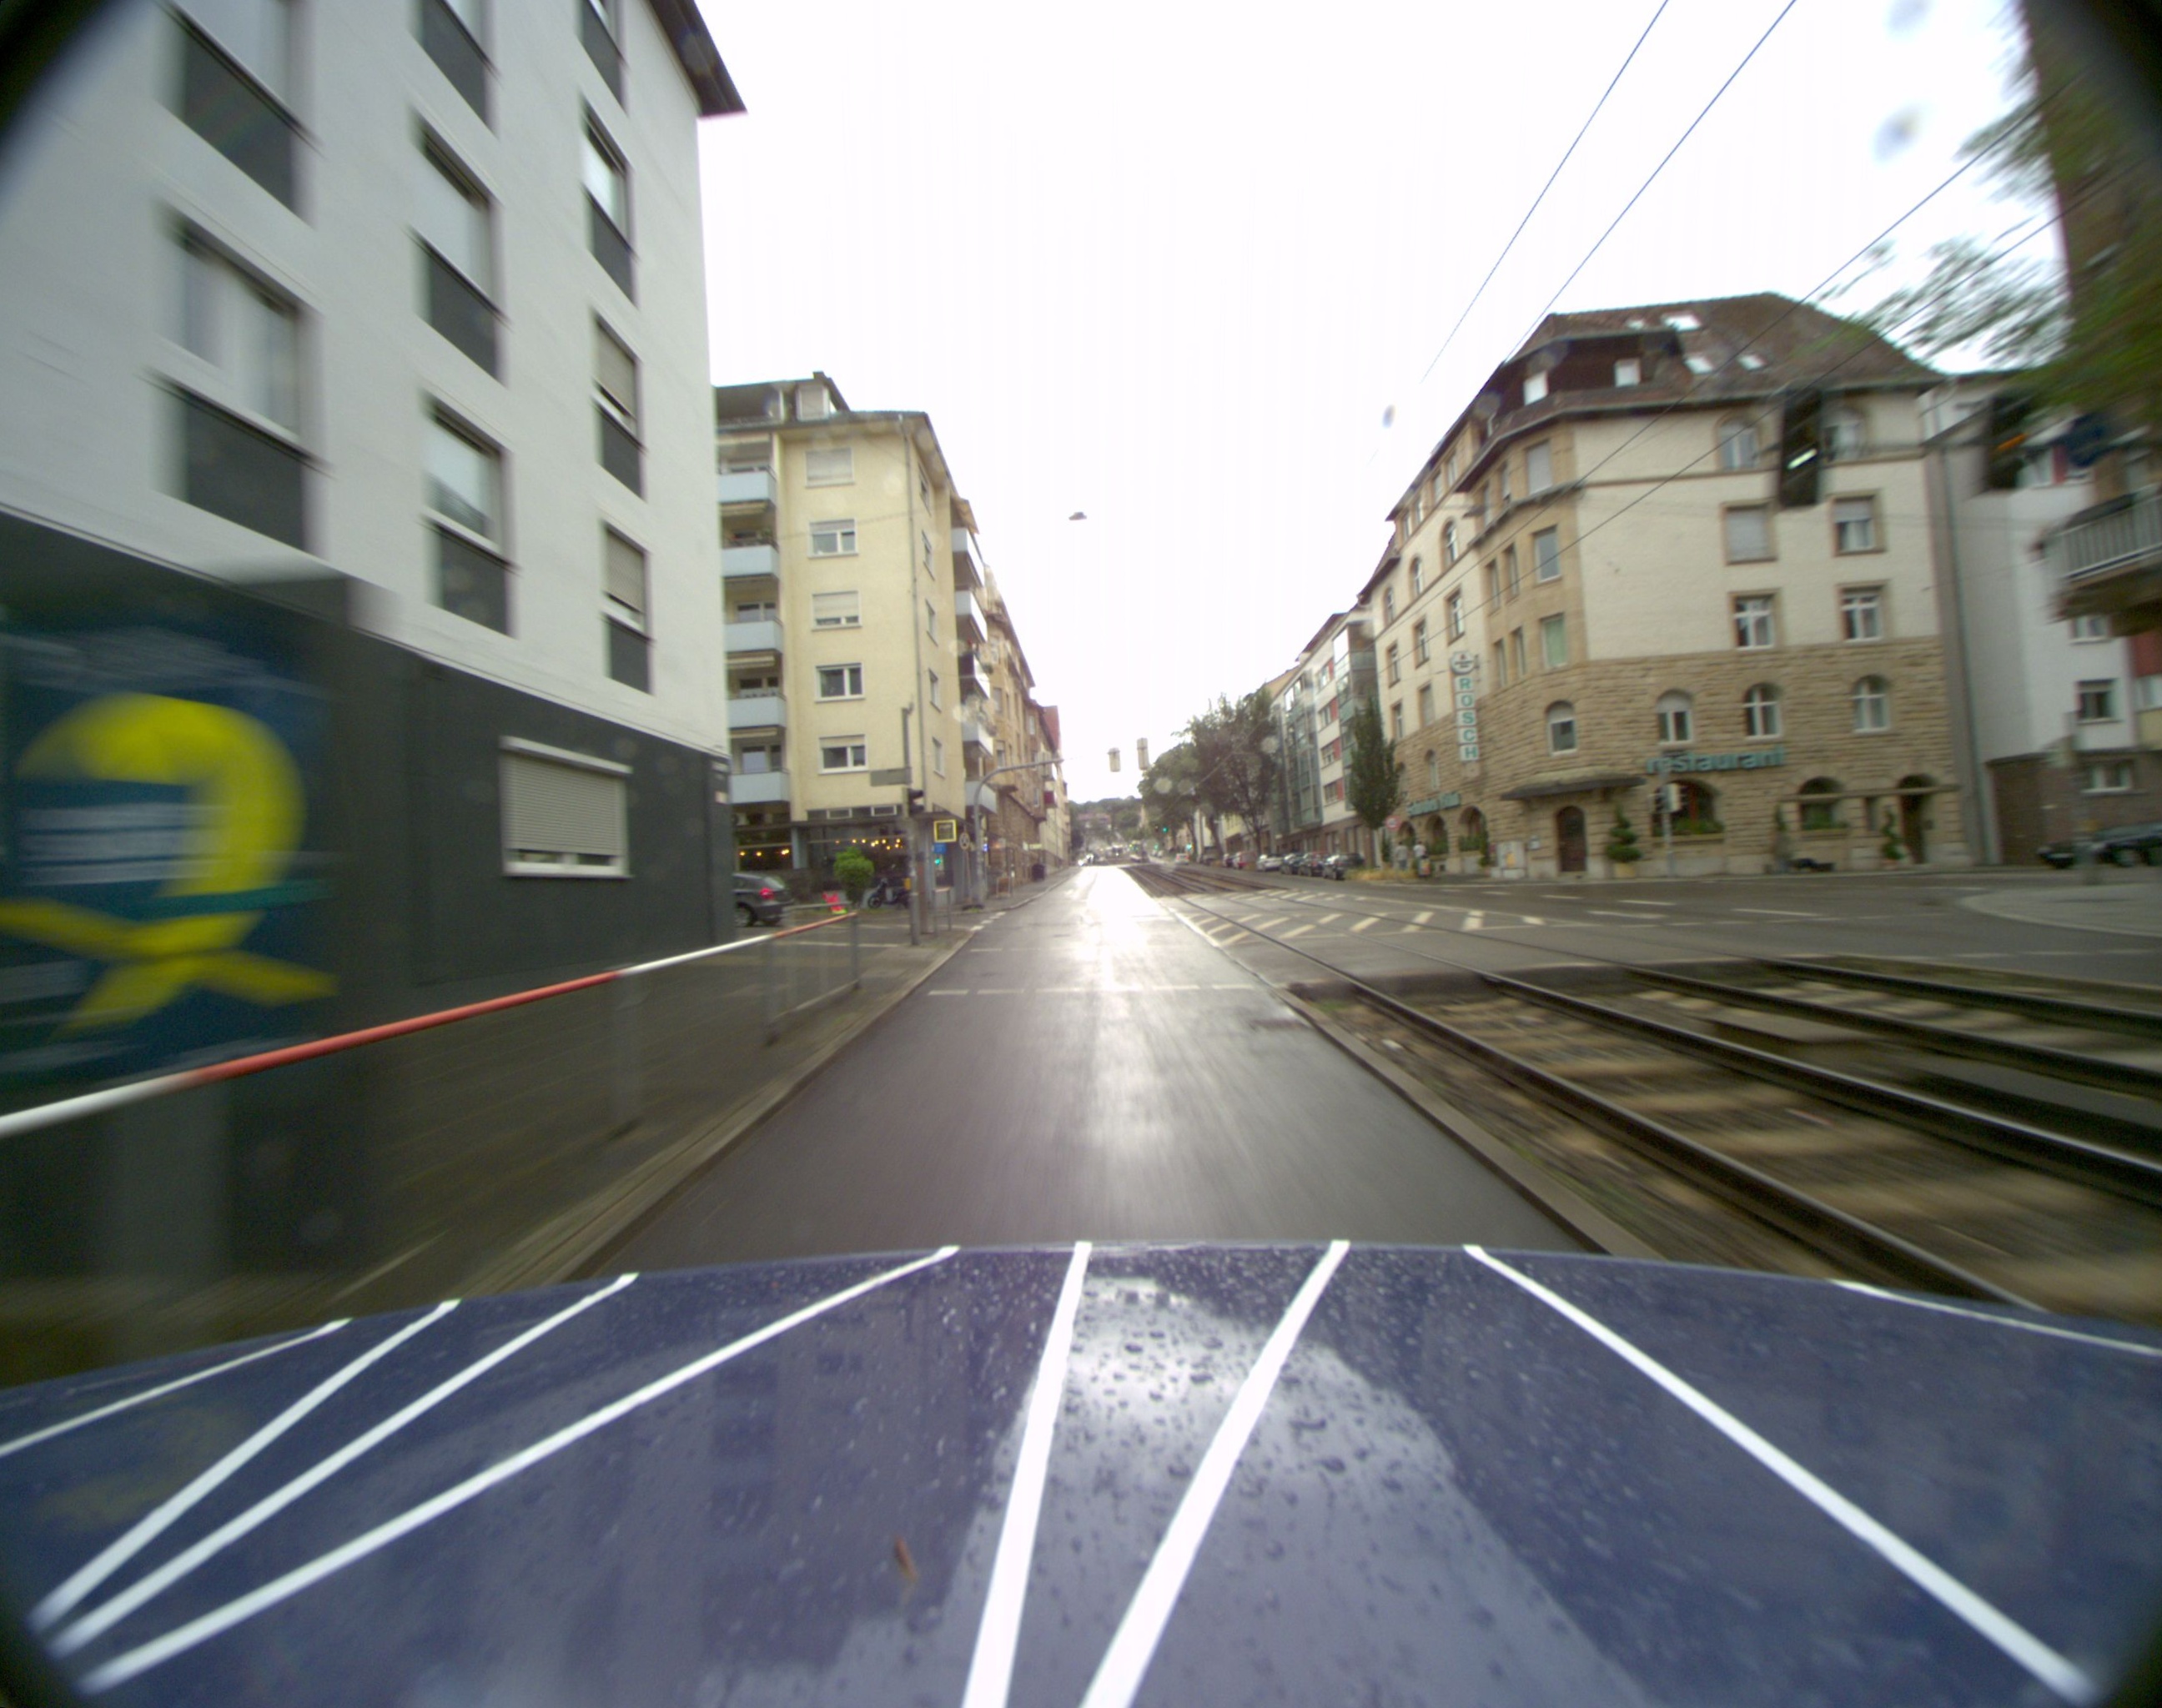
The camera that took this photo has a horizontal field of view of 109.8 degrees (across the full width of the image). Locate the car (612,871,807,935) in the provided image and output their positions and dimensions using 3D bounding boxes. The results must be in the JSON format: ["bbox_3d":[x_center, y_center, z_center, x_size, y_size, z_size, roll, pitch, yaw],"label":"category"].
[{"bbox_3d":[-9.243,1.197,19.106,3.996,1.406,1.761,-2,0,3],"label":"car"}]

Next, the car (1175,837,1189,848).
[{"bbox_3d":[13.720,-1.566,103.411,1.631,1.473,3.581,-3,1,3],"label":"car"}]

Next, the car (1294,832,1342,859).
[{"bbox_3d":[14.450,-0.526,46.583,1.811,1.489,3.526,-4,0,1],"label":"car"}]

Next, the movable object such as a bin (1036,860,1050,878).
[{"bbox_3d":[-3.212,1.237,63.804,1.011,1.443,1.393,-1,1,2],"label":"movable object such as a bin"}]

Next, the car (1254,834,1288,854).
[{"bbox_3d":[14.964,-0.786,60.132,1.706,1.328,4.130,-6,1,3],"label":"car"}]

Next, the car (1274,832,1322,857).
[{"bbox_3d":[14.506,-0.602,51.077,1.806,1.446,4.431,-3,-1,-2],"label":"car"}]

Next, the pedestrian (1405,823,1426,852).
[{"bbox_3d":[16.783,-0.832,38.114,0.756,1.413,0.645,-3,1,3],"label":"pedestrian"}]

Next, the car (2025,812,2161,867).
[{"bbox_3d":[31.420,-0.461,22.756,3.996,1.483,1.720,-3,0,2],"label":"car"}]

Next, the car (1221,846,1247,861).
[{"bbox_3d":[15.792,-0.074,78.640,1.911,1.432,4.469,-3,1,1],"label":"car"}]

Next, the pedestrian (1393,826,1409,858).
[{"bbox_3d":[16.069,-0.605,38.165,0.518,1.561,0.643,-3,2,4],"label":"pedestrian"}]

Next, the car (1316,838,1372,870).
[{"bbox_3d":[14.318,-0.011,41.585,1.769,1.543,3.895,-3,0,2],"label":"car"}]

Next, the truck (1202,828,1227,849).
[{"bbox_3d":[16.261,-1.899,92.749,2.197,2.332,6.352,-3,2,4],"label":"truck"}]

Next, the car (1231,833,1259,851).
[{"bbox_3d":[15.410,-1.112,71.454,1.780,1.560,4.158,-3,1,1],"label":"car"}]

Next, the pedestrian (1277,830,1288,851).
[{"bbox_3d":[16.990,-1.137,64.175,0.675,1.762,0.782,-4,1,3],"label":"pedestrian"}]

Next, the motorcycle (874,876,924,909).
[{"bbox_3d":[-6.578,1.378,27.560,1.648,1.155,0.600,0,2,3],"label":"motorcycle"}]

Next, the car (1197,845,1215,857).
[{"bbox_3d":[16.884,-0.452,102.911,1.708,1.451,4.360,-5,1,2],"label":"car"}]

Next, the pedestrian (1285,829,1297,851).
[{"bbox_3d":[17.734,-1.173,64.142,0.675,1.762,0.782,-4,1,3],"label":"pedestrian"}]

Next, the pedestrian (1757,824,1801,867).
[{"bbox_3d":[23.649,-0.297,25.746,0.818,1.408,0.721,-3,1,5],"label":"pedestrian"}]
